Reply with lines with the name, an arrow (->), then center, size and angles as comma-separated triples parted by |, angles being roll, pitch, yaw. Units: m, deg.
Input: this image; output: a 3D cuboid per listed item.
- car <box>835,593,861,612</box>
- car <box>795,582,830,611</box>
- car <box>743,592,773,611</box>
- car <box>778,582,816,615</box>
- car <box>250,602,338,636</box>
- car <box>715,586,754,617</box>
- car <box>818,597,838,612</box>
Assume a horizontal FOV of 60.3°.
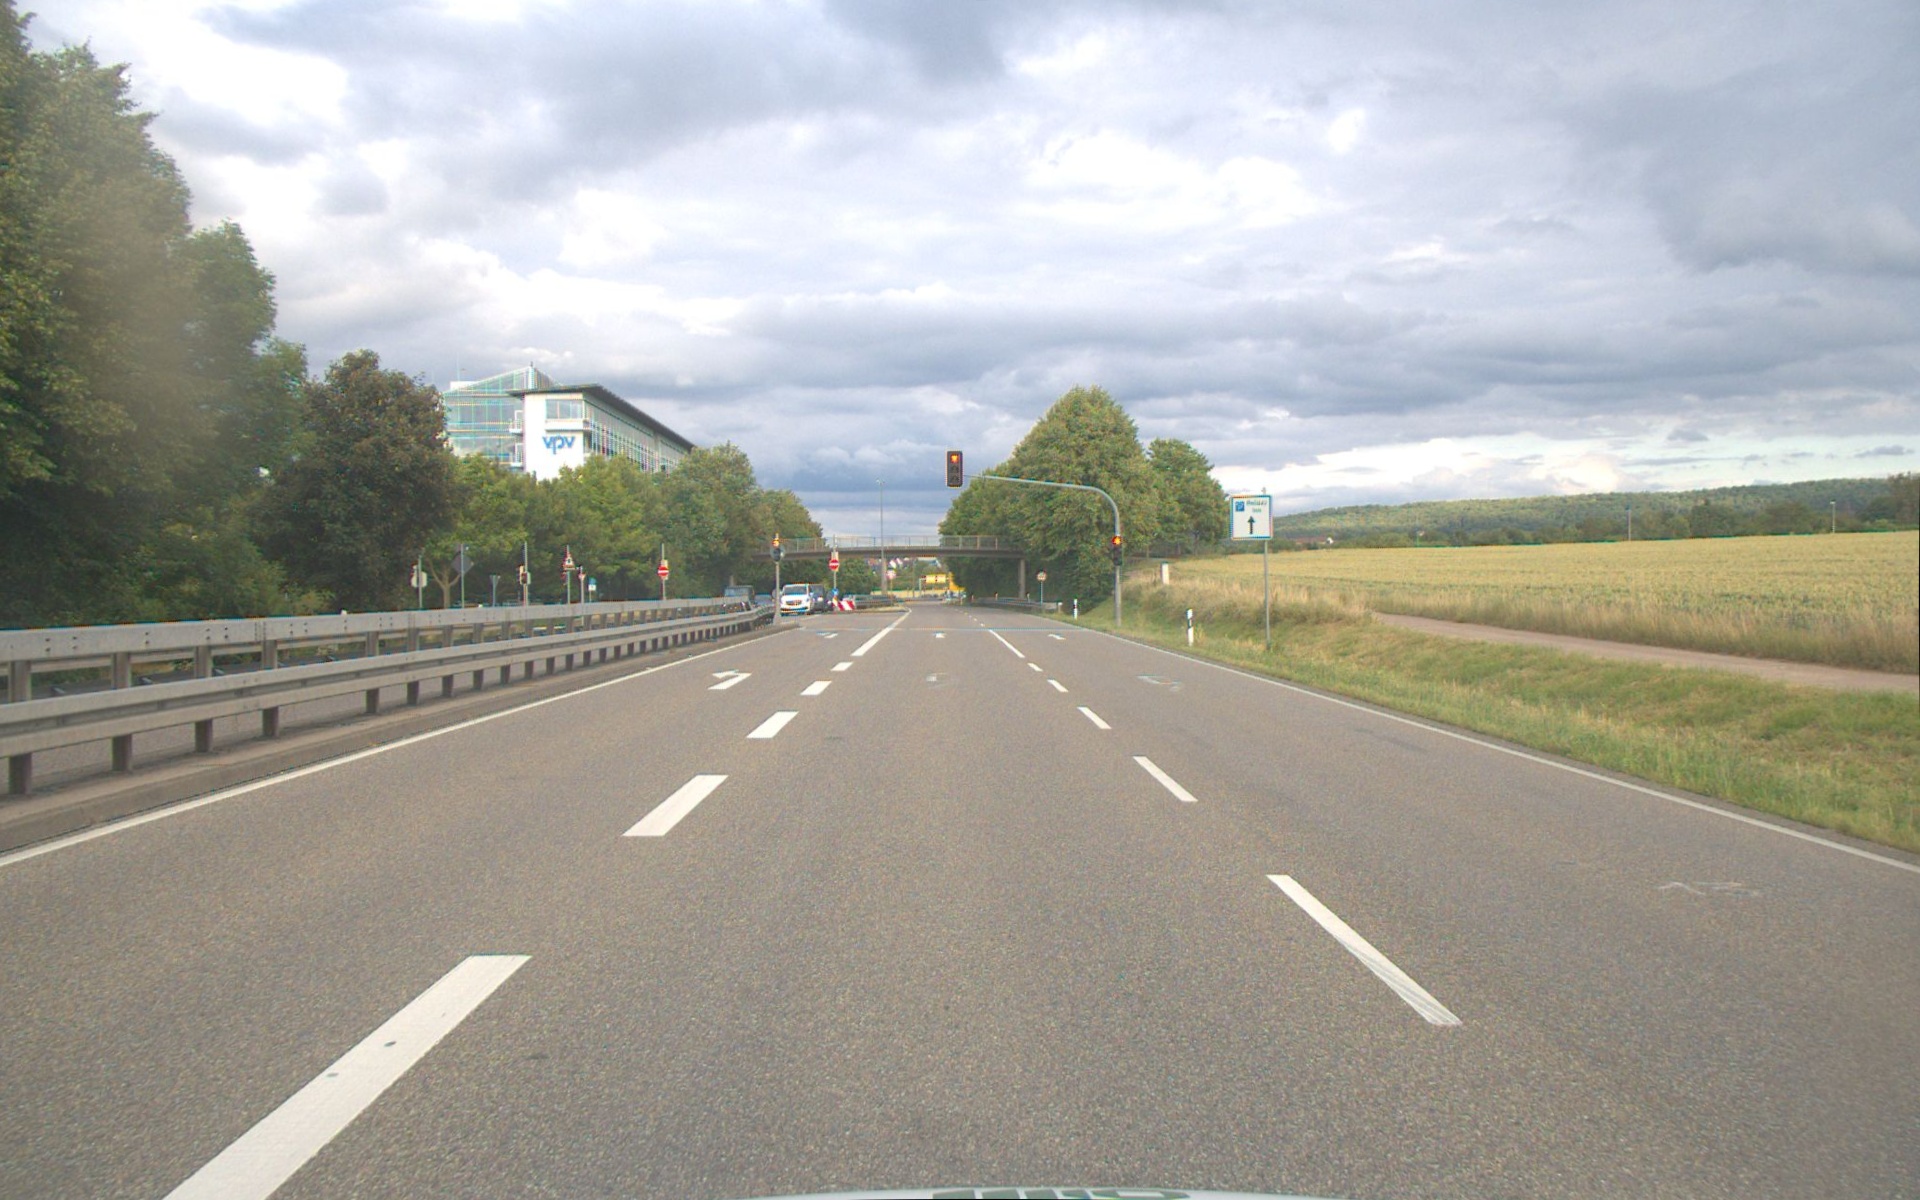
car -> -6.767, 0.136, 99.960 | 1.330, 1.111, 2.922 | -1, 1, 0
car -> -9.859, -0.262, 111.056 | 1.953, 1.906, 4.736 | -1, 1, -1
car -> -13.305, 0.099, 108.918 | 1.580, 1.199, 3.457 | -1, 1, -1
car -> -9.995, -0.106, 101.901 | 1.908, 1.906, 4.736 | -1, 1, -1
car -> -31.833, 0.889, 79.124 | 3.647, 1.566, 1.728 | -1, 0, -14
car -> -13.824, 0.075, 101.633 | 1.831, 1.784, 4.048 | -1, 1, -1
car -> -9.716, 0.317, 121.747 | 1.286, 1.004, 2.921 | -1, 1, -2
